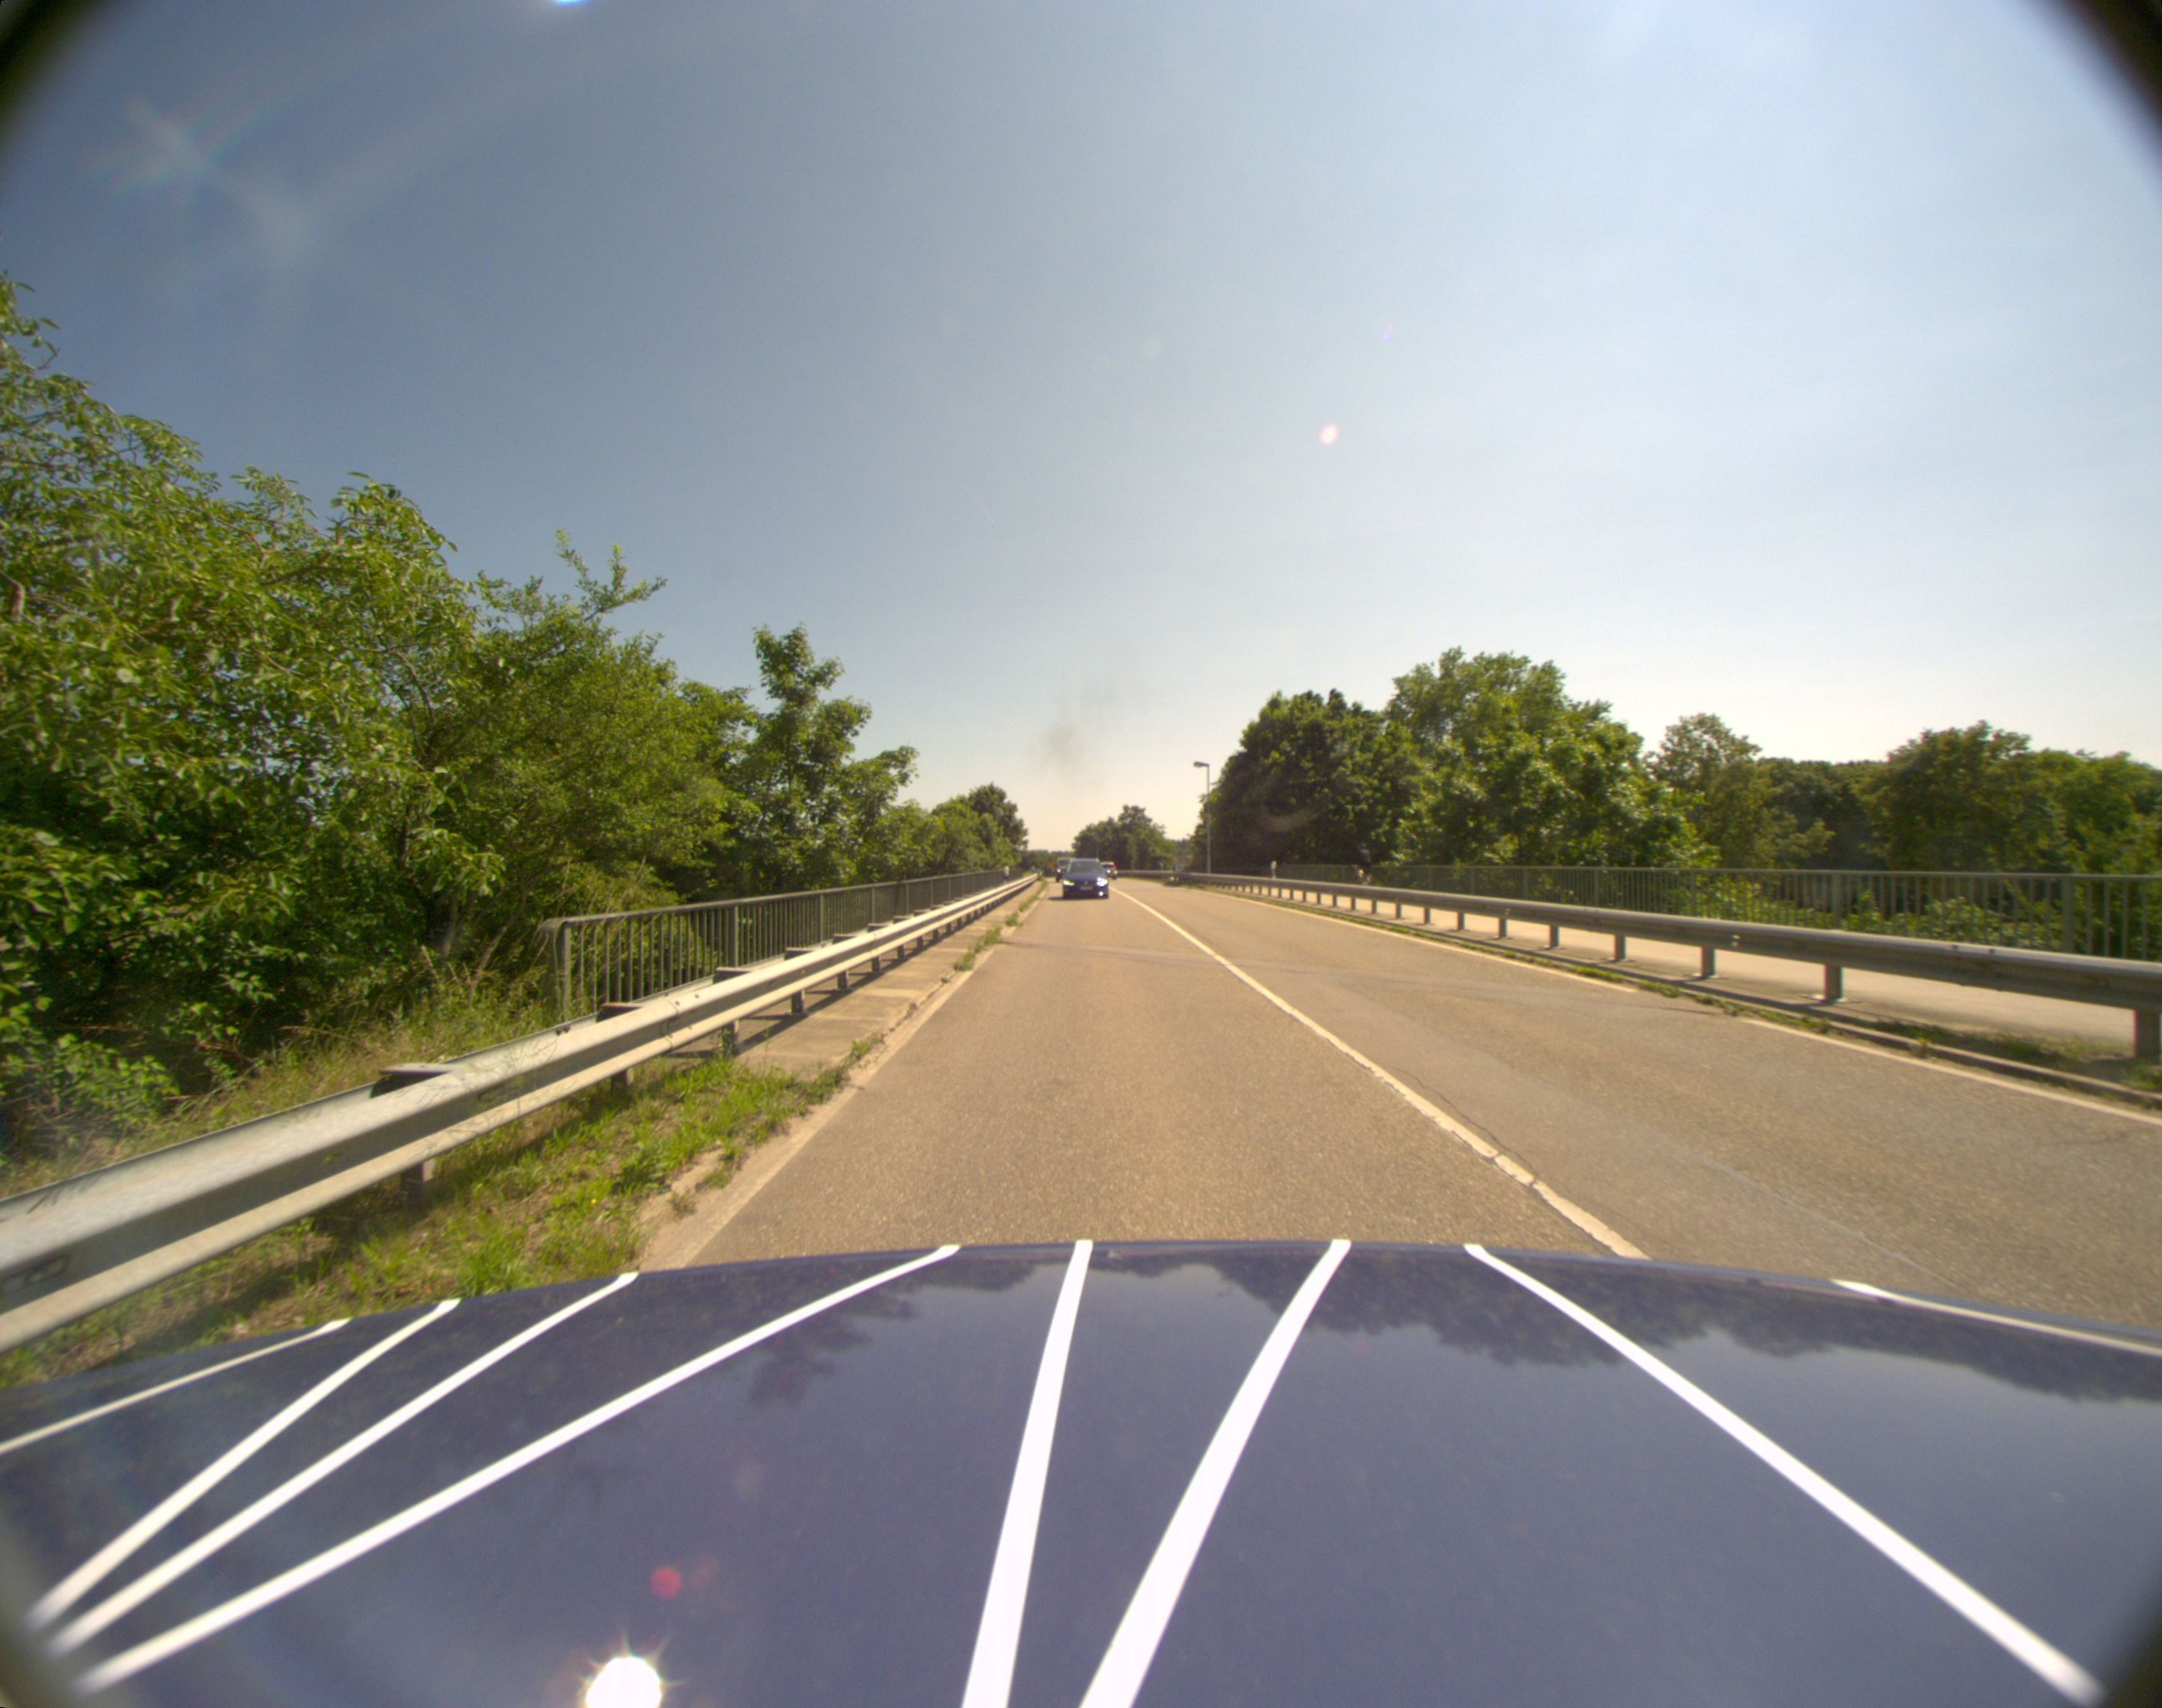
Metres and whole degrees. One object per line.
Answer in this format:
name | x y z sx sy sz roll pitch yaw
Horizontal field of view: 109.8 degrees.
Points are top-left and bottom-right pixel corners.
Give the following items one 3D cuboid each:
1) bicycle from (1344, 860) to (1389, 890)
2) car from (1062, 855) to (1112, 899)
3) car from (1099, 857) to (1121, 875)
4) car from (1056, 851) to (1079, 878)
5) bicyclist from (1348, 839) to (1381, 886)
bicycle | 9.853 0.708 26.324 0.679 0.995 2.118 0 -1 -3
car | 0.259 0.885 30.417 1.828 1.591 4.196 -1 0 1
car | 2.511 1.084 66.822 1.672 1.508 3.665 -1 0 -1
car | -1.081 0.871 61.531 1.779 2.006 4.001 -1 -1 0
bicyclist | 9.790 0.295 26.303 0.767 1.624 0.895 -1 0 -3
